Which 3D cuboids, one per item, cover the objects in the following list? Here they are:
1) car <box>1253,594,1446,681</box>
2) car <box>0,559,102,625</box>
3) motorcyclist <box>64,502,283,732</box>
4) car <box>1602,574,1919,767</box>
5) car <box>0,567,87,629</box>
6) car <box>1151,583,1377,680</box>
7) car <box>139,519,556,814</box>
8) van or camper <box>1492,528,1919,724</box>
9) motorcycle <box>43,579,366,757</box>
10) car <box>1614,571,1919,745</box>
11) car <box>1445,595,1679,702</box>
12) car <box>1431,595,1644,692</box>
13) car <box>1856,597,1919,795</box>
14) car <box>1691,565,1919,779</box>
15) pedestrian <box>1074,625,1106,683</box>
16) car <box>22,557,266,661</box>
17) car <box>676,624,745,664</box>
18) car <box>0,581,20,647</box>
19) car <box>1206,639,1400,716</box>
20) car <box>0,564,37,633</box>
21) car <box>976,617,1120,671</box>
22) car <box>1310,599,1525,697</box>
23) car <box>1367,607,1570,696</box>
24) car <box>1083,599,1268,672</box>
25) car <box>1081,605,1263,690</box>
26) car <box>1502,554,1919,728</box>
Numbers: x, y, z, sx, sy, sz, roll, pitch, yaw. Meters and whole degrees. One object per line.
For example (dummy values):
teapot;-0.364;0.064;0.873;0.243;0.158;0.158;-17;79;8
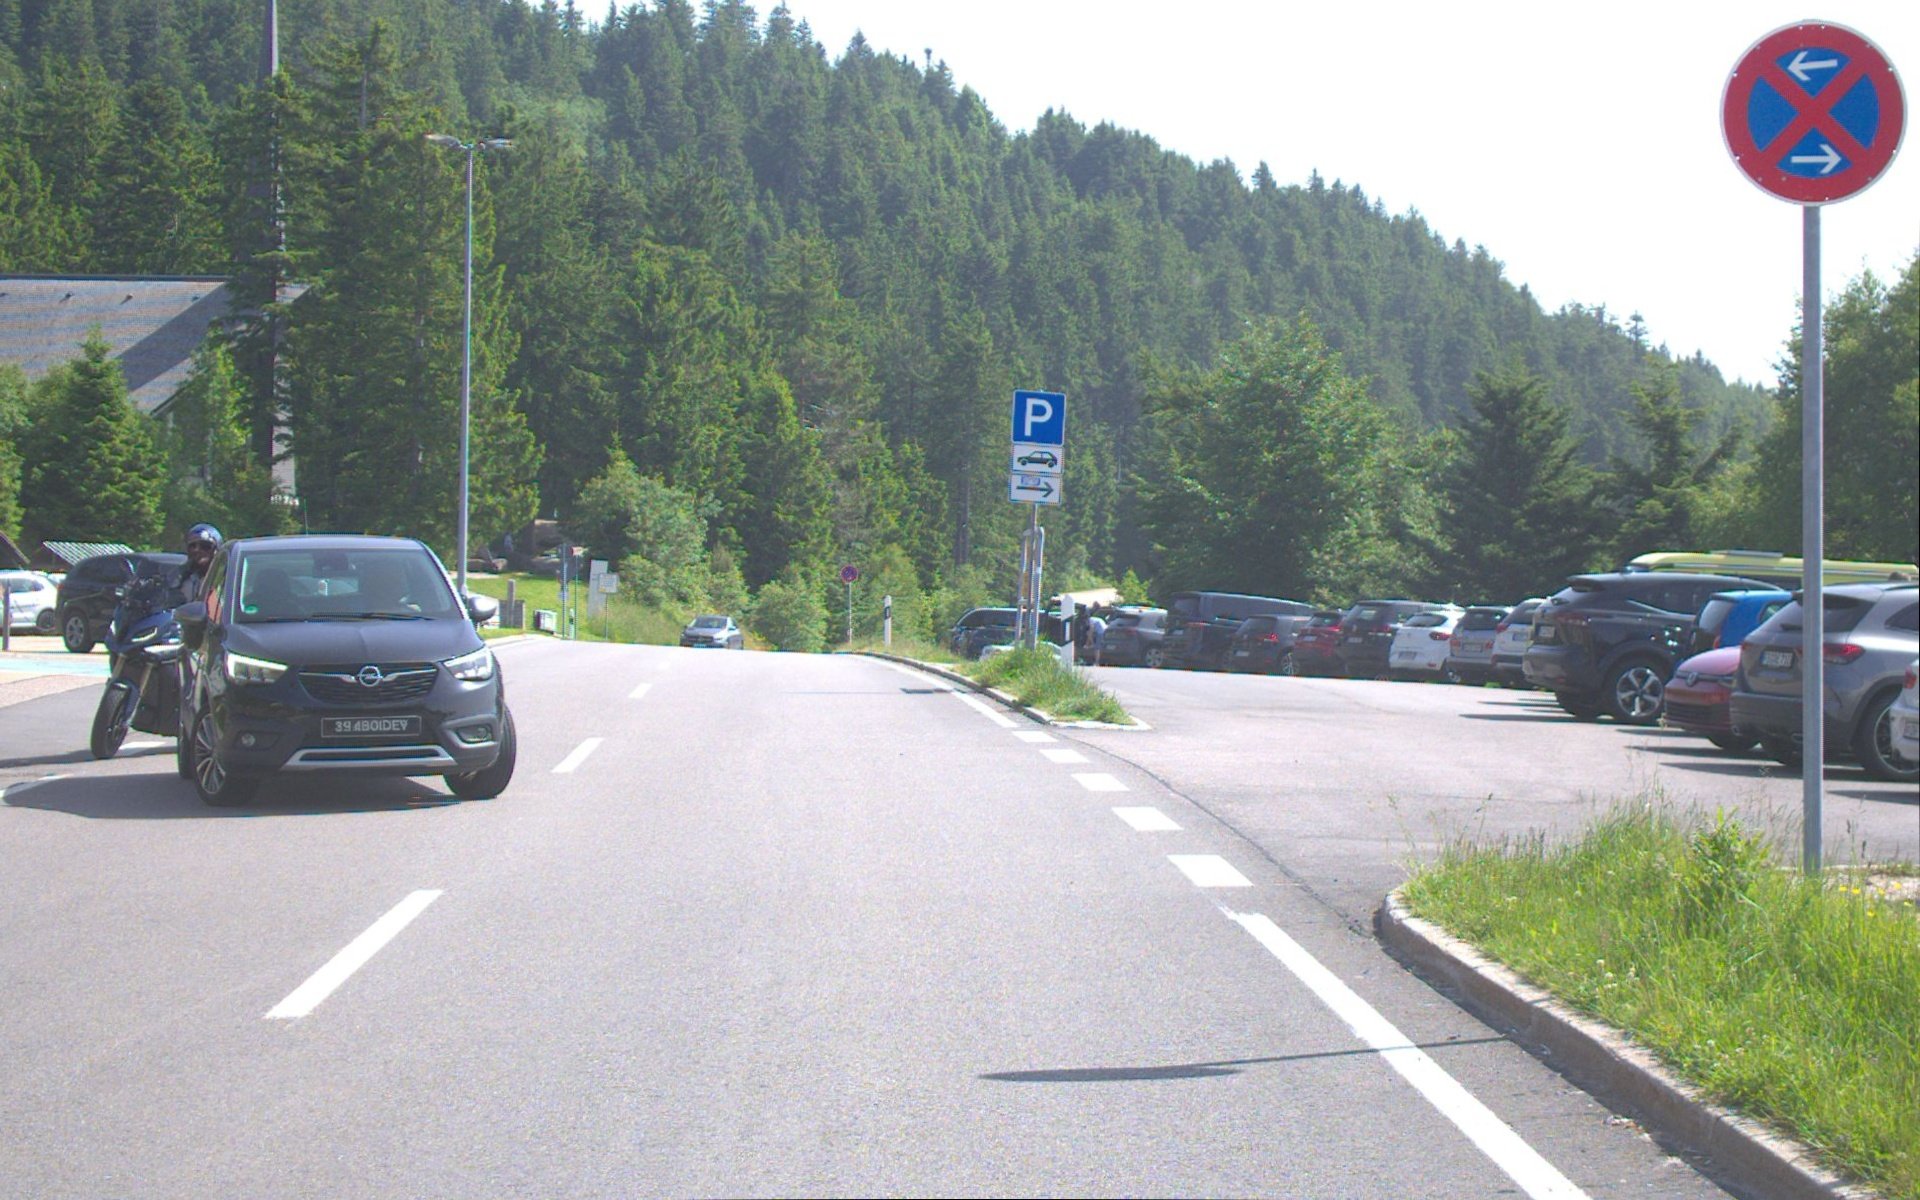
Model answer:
car;8.527;0.825;75.040;3.988;1.584;1.863;5;-1;-40
car;-23.018;-0.191;83.104;1.998;1.568;3.990;1;0;42
motorcyclist;-5.774;0.113;25.271;0.881;1.636;1.296;1;1;40
car;7.962;0.656;30.454;3.986;1.504;1.843;3;1;-12
car;-22.578;-0.060;79.972;1.906;1.415;3.990;1;0;42
car;7.097;0.731;80.277;4.756;1.873;1.967;5;-1;-22
car;-3.942;0.342;21.563;1.979;1.611;4.151;-2;1;-18
van or camper;9.389;0.310;42.881;5.090;2.007;1.882;4;1;1
motorcycle;-5.589;0.476;25.563;0.813;1.261;2.322;1;1;40
car;8.523;0.590;34.228;3.580;1.490;1.648;4;1;-2
car;11.051;0.900;62.991;4.214;1.689;1.863;4;-1;-41
car;11.122;0.845;66.109;3.988;1.544;1.820;5;-1;-40
car;8.703;0.807;24.718;3.986;1.381;1.658;4;0;-12
car;8.382;0.648;27.677;4.395;1.563;1.908;4;1;-14
pedestrian;3.216;1.334;84.915;0.773;1.398;0.669;1;1;3
car;-12.859;0.119;54.036;1.803;1.535;4.190;0;1;-45
car;-9.440;1.668;130.206;1.581;1.424;3.369;1;1;14
car;-21.759;0.277;71.221;3.988;1.366;1.811;0;1;-41
car;7.719;1.739;77.345;3.986;1.410;1.745;5;-1;-30
car;-22.855;-0.053;76.633;1.898;1.539;3.990;1;1;43
car;2.953;1.476;115.525;4.452;1.294;1.583;7;-1;-19
car;9.527;0.996;71.409;4.260;1.689;1.990;5;-1;-41
car;10.261;1.043;69.220;3.988;1.471;1.767;5;-1;-40
car;5.232;0.872;83.519;3.986;1.438;1.840;5;-1;-24
car;5.332;1.195;86.569;3.986;1.656;2.000;8;-3;-29
car;8.054;0.425;36.805;3.986;1.608;1.917;3;0;-8
